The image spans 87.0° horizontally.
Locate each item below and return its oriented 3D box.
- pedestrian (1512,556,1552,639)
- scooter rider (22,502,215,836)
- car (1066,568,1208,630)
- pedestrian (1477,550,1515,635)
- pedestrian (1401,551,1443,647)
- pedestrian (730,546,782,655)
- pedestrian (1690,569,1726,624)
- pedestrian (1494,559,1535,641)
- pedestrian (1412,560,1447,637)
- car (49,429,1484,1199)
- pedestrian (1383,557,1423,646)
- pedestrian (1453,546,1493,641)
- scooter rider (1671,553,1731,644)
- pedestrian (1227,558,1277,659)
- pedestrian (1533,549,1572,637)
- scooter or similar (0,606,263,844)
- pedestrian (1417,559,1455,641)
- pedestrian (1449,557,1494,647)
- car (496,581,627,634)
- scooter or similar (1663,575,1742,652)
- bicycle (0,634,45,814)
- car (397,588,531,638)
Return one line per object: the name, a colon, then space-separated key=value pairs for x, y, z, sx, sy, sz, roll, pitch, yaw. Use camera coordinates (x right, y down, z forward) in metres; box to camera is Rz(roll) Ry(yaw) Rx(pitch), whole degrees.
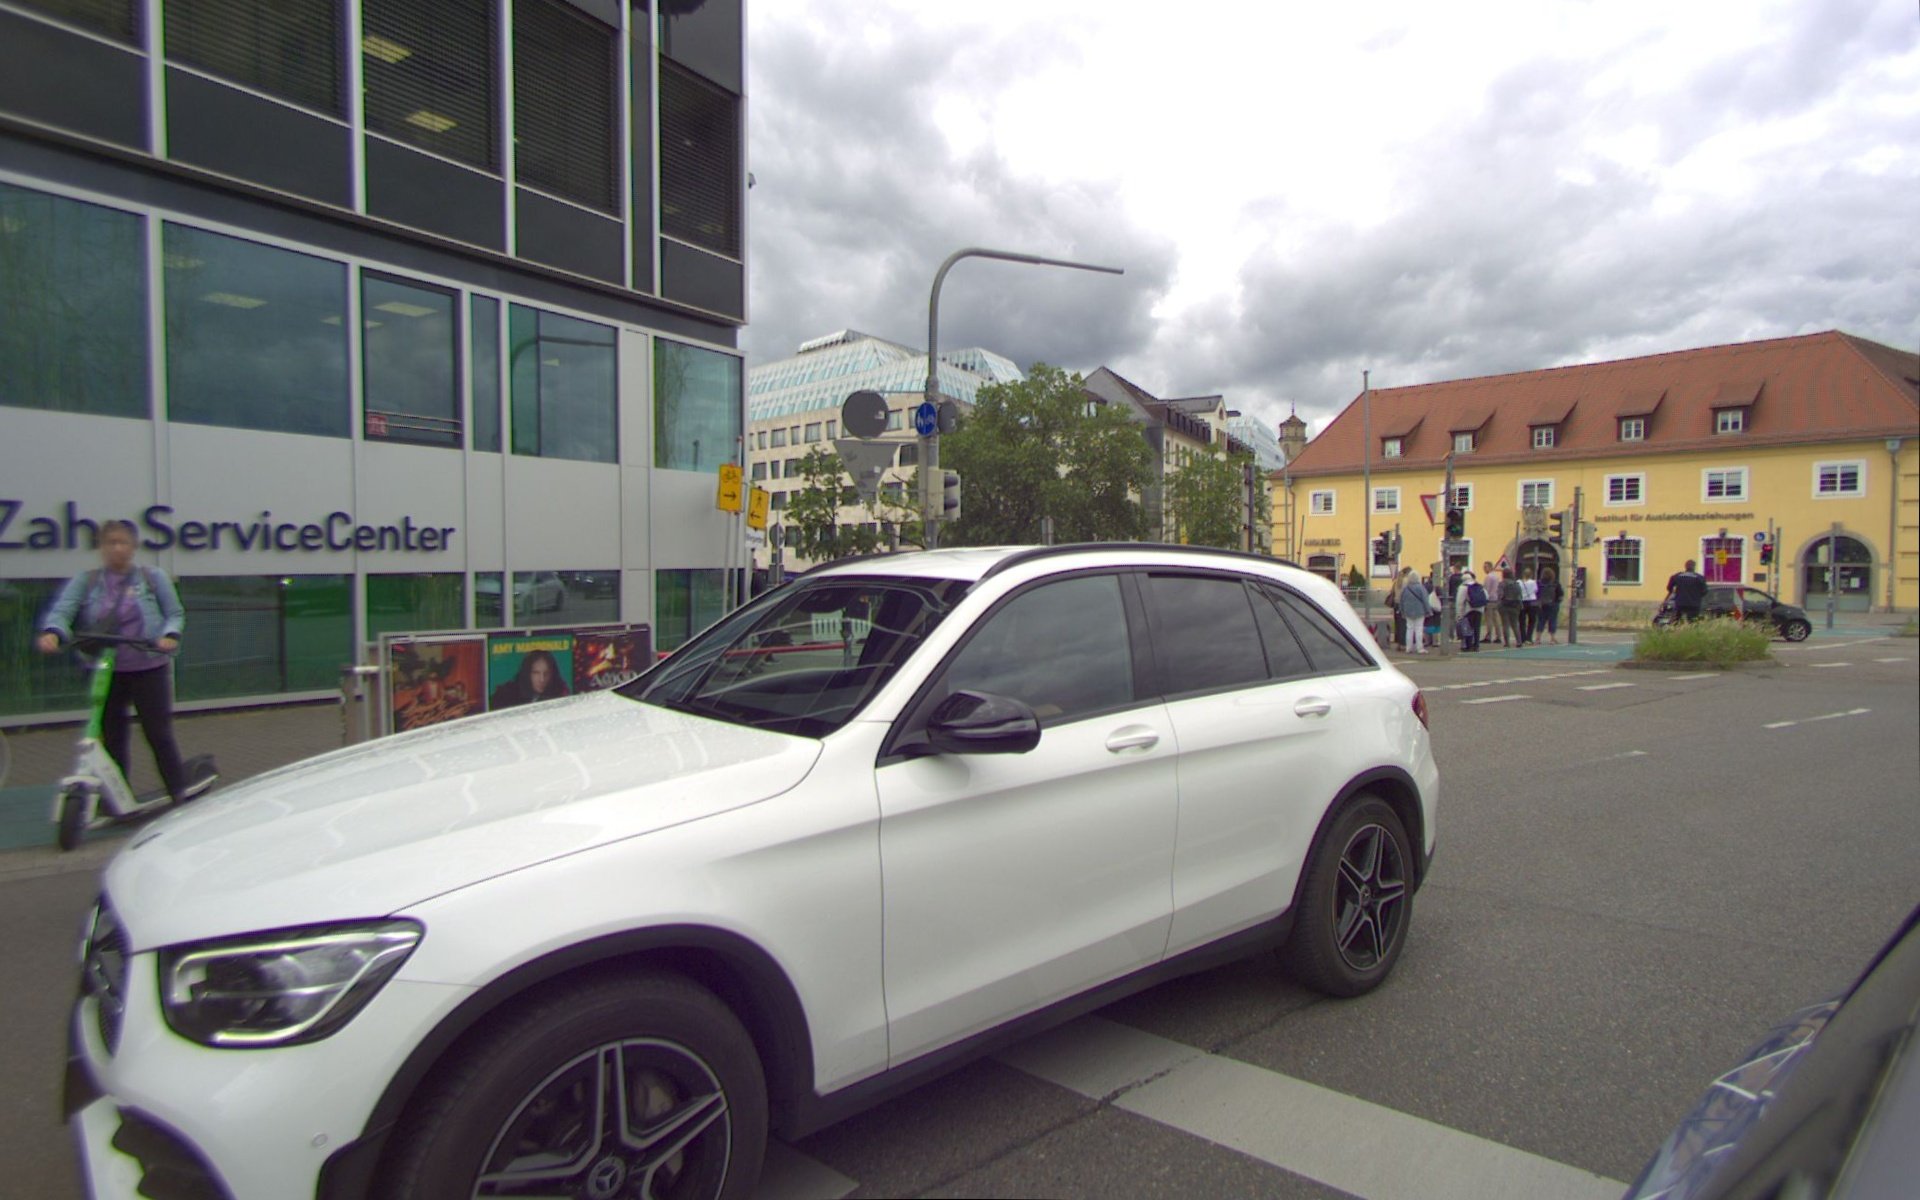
pedestrian: x=12.677 y=-0.069 z=22.444 sx=0.602 sy=1.819 sz=0.640 roll=1 pitch=1 yaw=14
scooter rider: x=-4.844 y=0.372 z=5.866 sx=0.581 sy=1.831 sz=0.644 roll=1 pitch=2 yaw=-4
car: x=4.867 y=-0.068 z=28.326 sx=3.744 sy=1.595 sz=1.997 roll=1 pitch=2 yaw=6
pedestrian: x=12.412 y=-0.189 z=23.434 sx=0.602 sy=1.933 sz=0.640 roll=1 pitch=2 yaw=14
pedestrian: x=9.322 y=-0.031 z=20.445 sx=0.660 sy=1.886 sz=0.699 roll=1 pitch=1 yaw=17
pedestrian: x=-3.404 y=-0.004 z=16.905 sx=0.584 sy=1.770 sz=0.633 roll=1 pitch=1 yaw=21
pedestrian: x=24.792 y=-0.128 z=33.538 sx=0.740 sy=1.811 sz=0.825 roll=0 pitch=1 yaw=-45
pedestrian: x=11.764 y=-0.007 z=21.485 sx=0.602 sy=1.717 sz=0.640 roll=1 pitch=1 yaw=14
pedestrian: x=10.667 y=-0.035 z=23.015 sx=0.602 sy=1.717 sz=0.640 roll=1 pitch=1 yaw=14
car: x=-0.141 y=0.548 z=3.423 sx=4.256 sy=1.666 sz=1.807 roll=0 pitch=3 yaw=-39
pedestrian: x=9.297 y=0.024 z=21.240 sx=0.660 sy=1.838 sz=0.699 roll=1 pitch=1 yaw=17
pedestrian: x=10.892 y=-0.144 z=21.501 sx=0.602 sy=1.989 sz=0.640 roll=1 pitch=1 yaw=14
scooter rider: x=14.446 y=-0.041 z=19.737 sx=0.757 sy=1.715 sz=0.741 roll=1 pitch=1 yaw=22
pedestrian: x=5.140 y=0.131 z=17.792 sx=0.792 sy=1.719 sz=0.544 roll=1 pitch=1 yaw=20
pedestrian: x=13.534 y=-0.166 z=23.126 sx=0.602 sy=1.979 sz=0.639 roll=1 pitch=1 yaw=18
scooter or similar: x=-4.860 y=0.667 z=6.015 sx=0.581 sy=1.190 sz=1.325 roll=1 pitch=2 yaw=-4
pedestrian: x=10.240 y=-0.009 z=21.770 sx=0.602 sy=1.717 sz=0.640 roll=1 pitch=1 yaw=14
pedestrian: x=10.411 y=0.034 z=20.612 sx=0.660 sy=1.783 sz=0.760 roll=1 pitch=1 yaw=17
car: x=-13.429 y=0.215 z=34.141 sx=3.959 sy=1.693 sz=1.983 roll=0 pitch=1 yaw=26
scooter or similar: x=14.443 y=0.229 z=19.739 sx=0.767 sy=1.424 sz=1.875 roll=1 pitch=1 yaw=22
bicycle: x=-6.043 y=0.764 z=5.449 sx=0.572 sy=1.039 sz=1.666 roll=1 pitch=3 yaw=9
car: x=-17.527 y=0.426 z=35.812 sx=3.942 sy=1.598 sz=1.991 roll=1 pitch=1 yaw=15
